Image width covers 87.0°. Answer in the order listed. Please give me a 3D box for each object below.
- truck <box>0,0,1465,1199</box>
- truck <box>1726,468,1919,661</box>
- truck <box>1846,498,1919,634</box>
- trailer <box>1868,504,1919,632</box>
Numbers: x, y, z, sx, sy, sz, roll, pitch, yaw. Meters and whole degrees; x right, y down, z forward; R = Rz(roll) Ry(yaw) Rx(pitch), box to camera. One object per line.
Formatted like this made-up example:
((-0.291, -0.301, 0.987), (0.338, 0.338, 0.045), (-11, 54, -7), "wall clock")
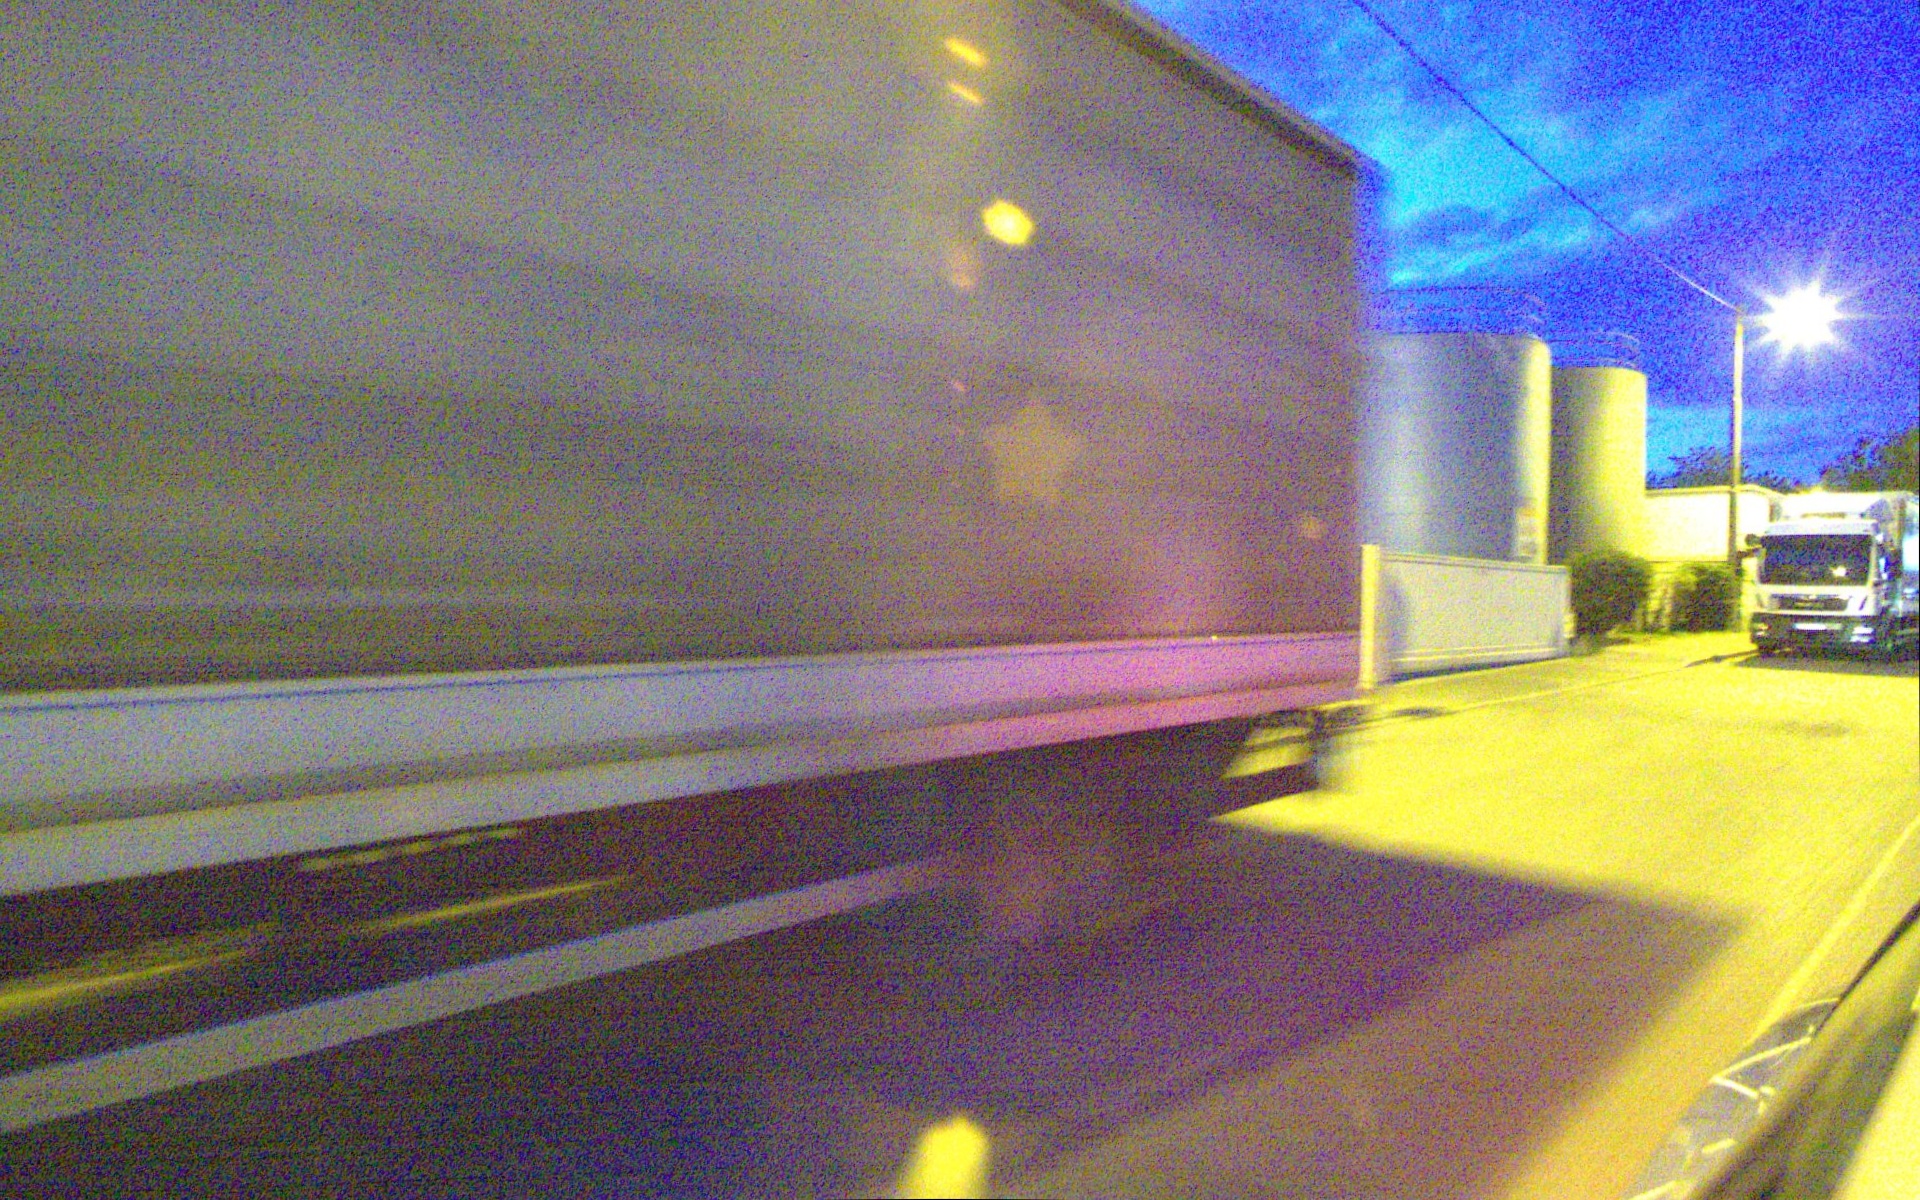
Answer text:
((-2.138, -0.693, 3.550), (10.167, 4.032, 3.526), (-1, 3, -43), "truck")
((22.603, -0.847, 25.421), (10.154, 4.032, 2.838), (-1, 3, -39), "truck")
((30.746, -1.041, 31.953), (5.936, 4.032, 2.840), (0, 2, -36), "truck")
((35.962, -1.055, 35.764), (13.711, 4.032, 2.818), (-1, 3, -36), "trailer")
